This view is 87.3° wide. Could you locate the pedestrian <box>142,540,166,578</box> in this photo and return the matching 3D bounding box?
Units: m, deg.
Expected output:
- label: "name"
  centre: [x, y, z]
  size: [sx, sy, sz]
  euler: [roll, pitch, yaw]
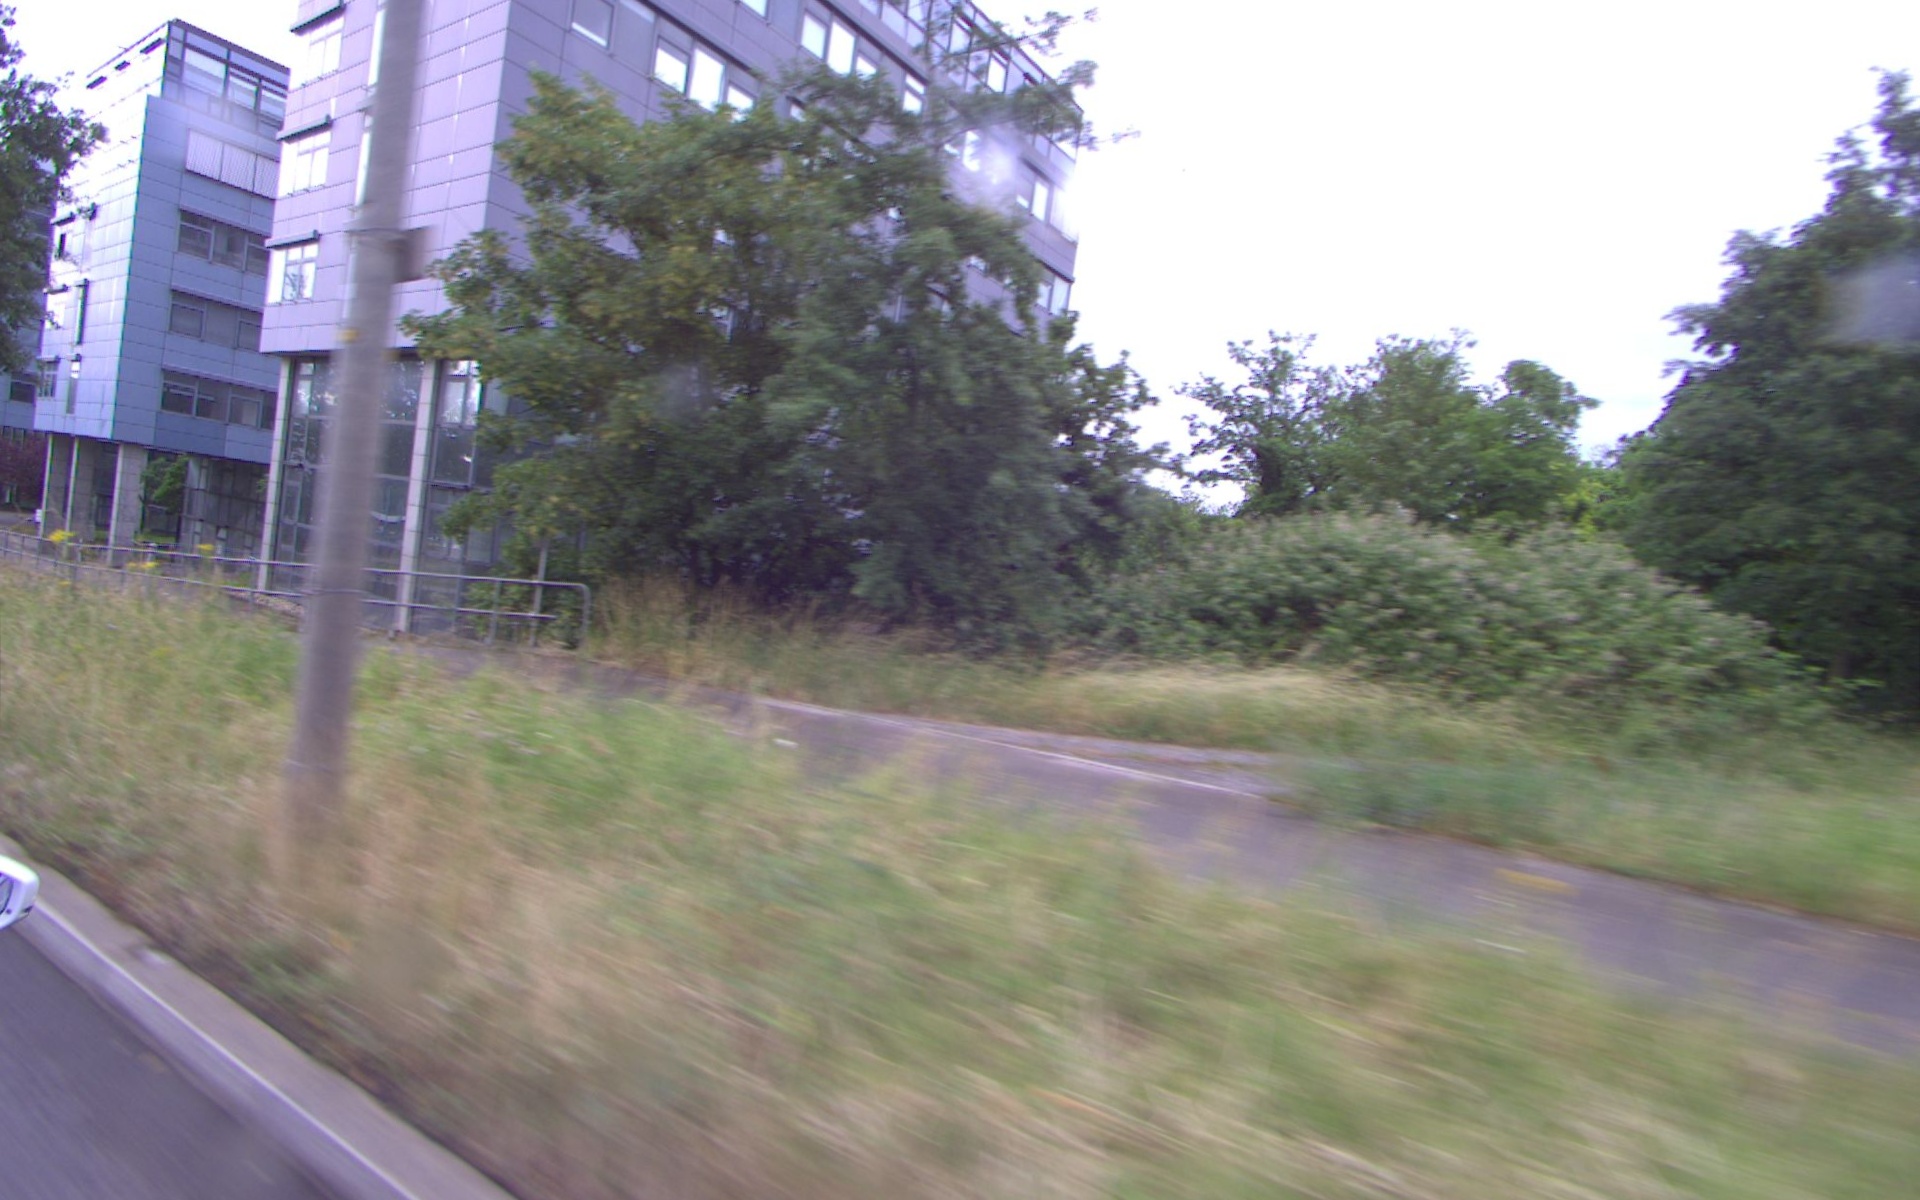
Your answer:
- label: "pedestrian"
  centre: [-31.385, -1.601, 39.188]
  size: [0.450, 1.425, 0.503]
  euler: [6, 0, 35]
